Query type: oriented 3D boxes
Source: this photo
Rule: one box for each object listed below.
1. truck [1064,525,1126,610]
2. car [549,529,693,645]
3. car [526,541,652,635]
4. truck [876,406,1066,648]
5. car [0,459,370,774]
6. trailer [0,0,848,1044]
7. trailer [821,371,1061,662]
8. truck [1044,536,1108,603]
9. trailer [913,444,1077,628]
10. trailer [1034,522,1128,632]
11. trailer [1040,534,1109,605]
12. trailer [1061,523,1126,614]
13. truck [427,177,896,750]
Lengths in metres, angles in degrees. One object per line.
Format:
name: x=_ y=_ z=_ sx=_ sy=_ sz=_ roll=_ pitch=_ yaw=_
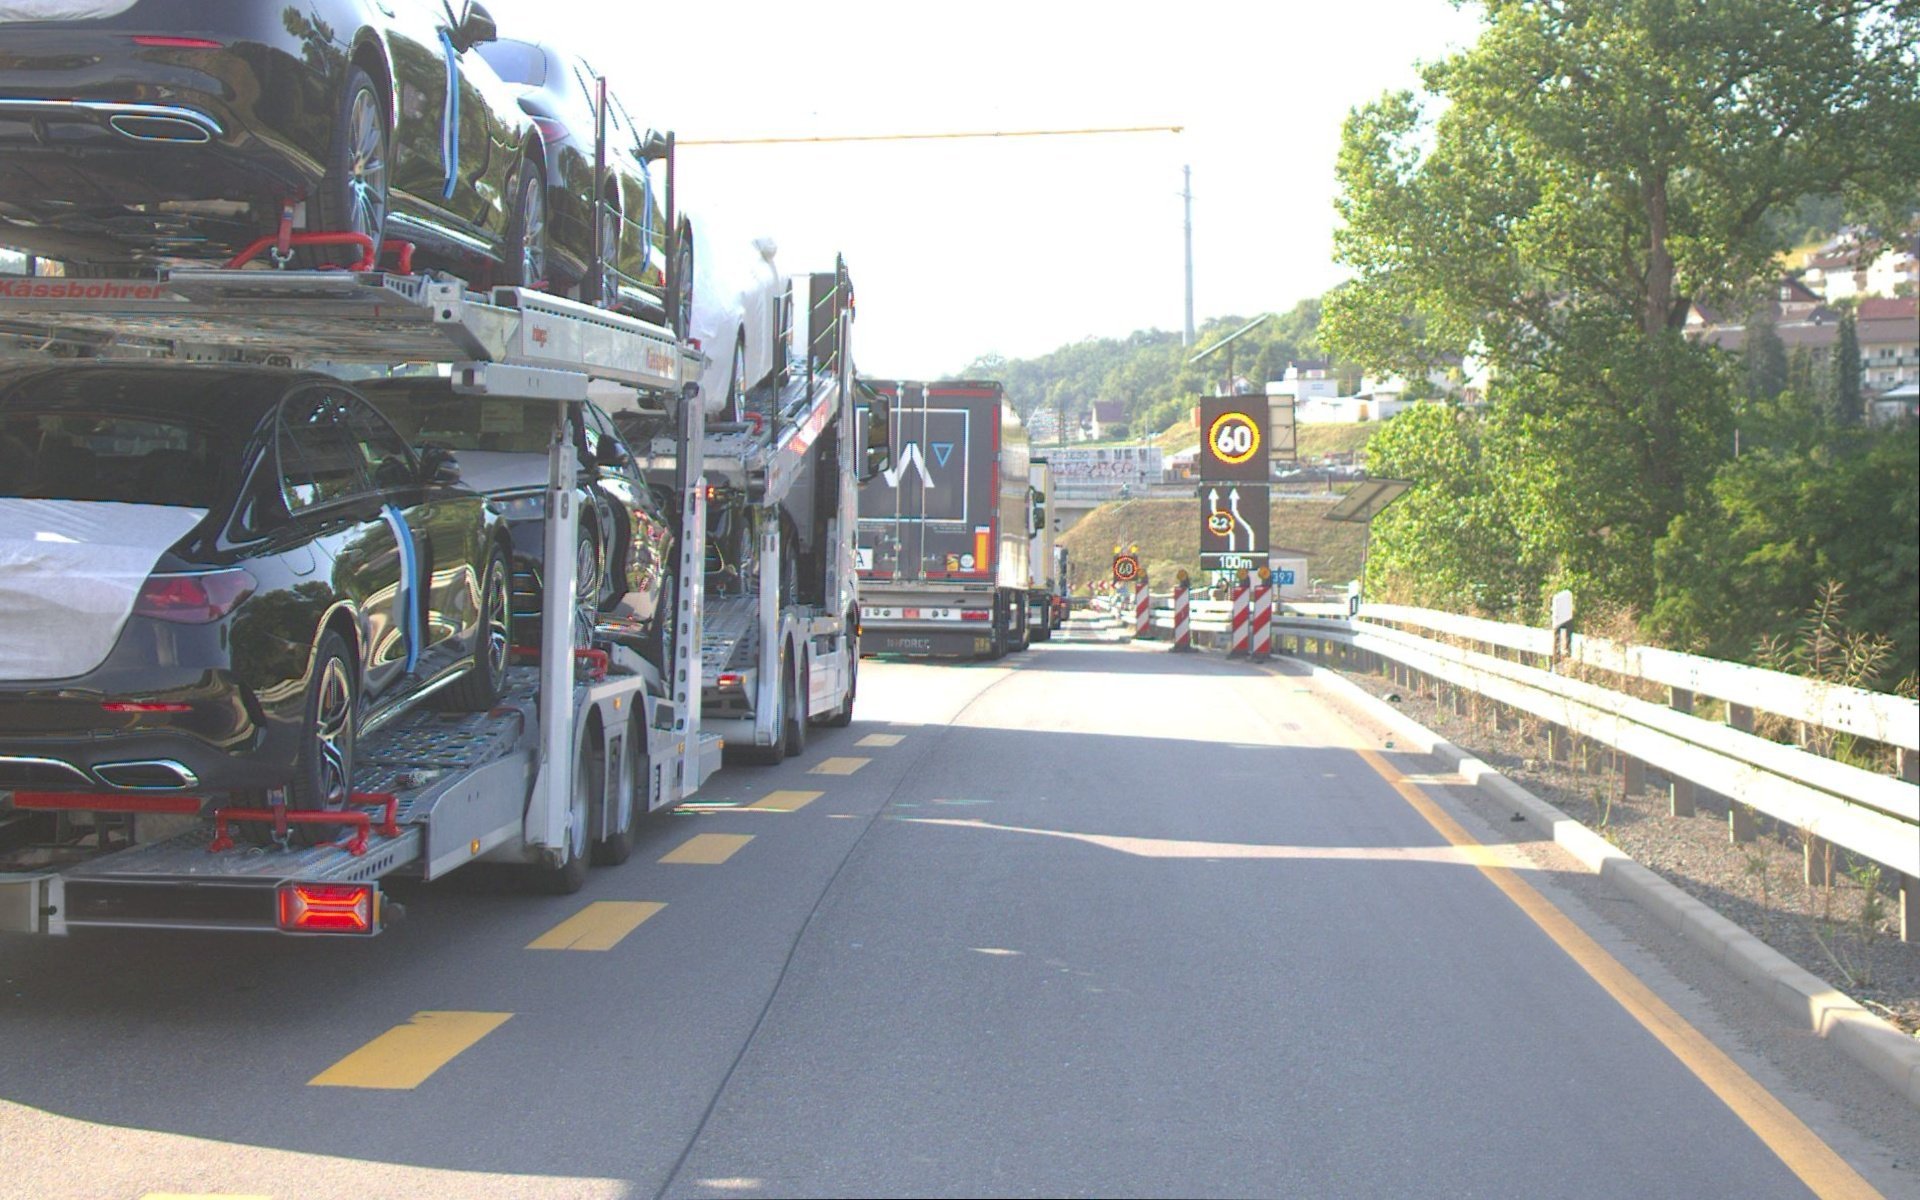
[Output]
truck: x=6.983 y=-1.687 z=177.482 sx=3.098 sy=4.271 sz=6.624 roll=0 pitch=1 yaw=3
car: x=-5.390 y=-0.216 z=55.070 sx=1.830 sy=1.746 sz=4.000 roll=-1 pitch=1 yaw=1
car: x=-6.851 y=-0.244 z=63.862 sx=1.830 sy=1.648 sz=4.000 roll=-1 pitch=1 yaw=1
truck: x=0.282 y=-1.243 z=60.017 sx=2.885 sy=3.983 sz=6.624 roll=0 pitch=1 yaw=4
car: x=-5.797 y=0.042 z=24.405 sx=2.029 sy=1.974 sz=4.979 roll=2 pitch=1 yaw=4
trailer: x=-2.615 y=-0.838 z=17.543 sx=2.857 sy=3.983 sz=15.745 roll=0 pitch=1 yaw=3
trailer: x=-0.108 y=-1.248 z=54.242 sx=2.959 sy=4.078 sz=10.792 roll=-1 pitch=1 yaw=4
truck: x=7.518 y=-1.982 z=221.859 sx=4.029 sy=4.271 sz=6.624 roll=0 pitch=1 yaw=3
trailer: x=1.017 y=-1.466 z=81.896 sx=3.385 sy=3.983 sz=14.744 roll=0 pitch=1 yaw=3
trailer: x=4.730 y=-0.915 z=132.150 sx=3.385 sy=3.983 sz=14.744 roll=0 pitch=1 yaw=3
trailer: x=7.244 y=-1.914 z=215.324 sx=4.097 sy=4.299 sz=14.251 roll=0 pitch=1 yaw=3
trailer: x=6.643 y=-1.596 z=169.843 sx=3.104 sy=4.299 sz=14.251 roll=0 pitch=1 yaw=3
truck: x=-2.151 y=-0.984 z=27.295 sx=2.848 sy=3.983 sz=6.624 roll=0 pitch=1 yaw=3
